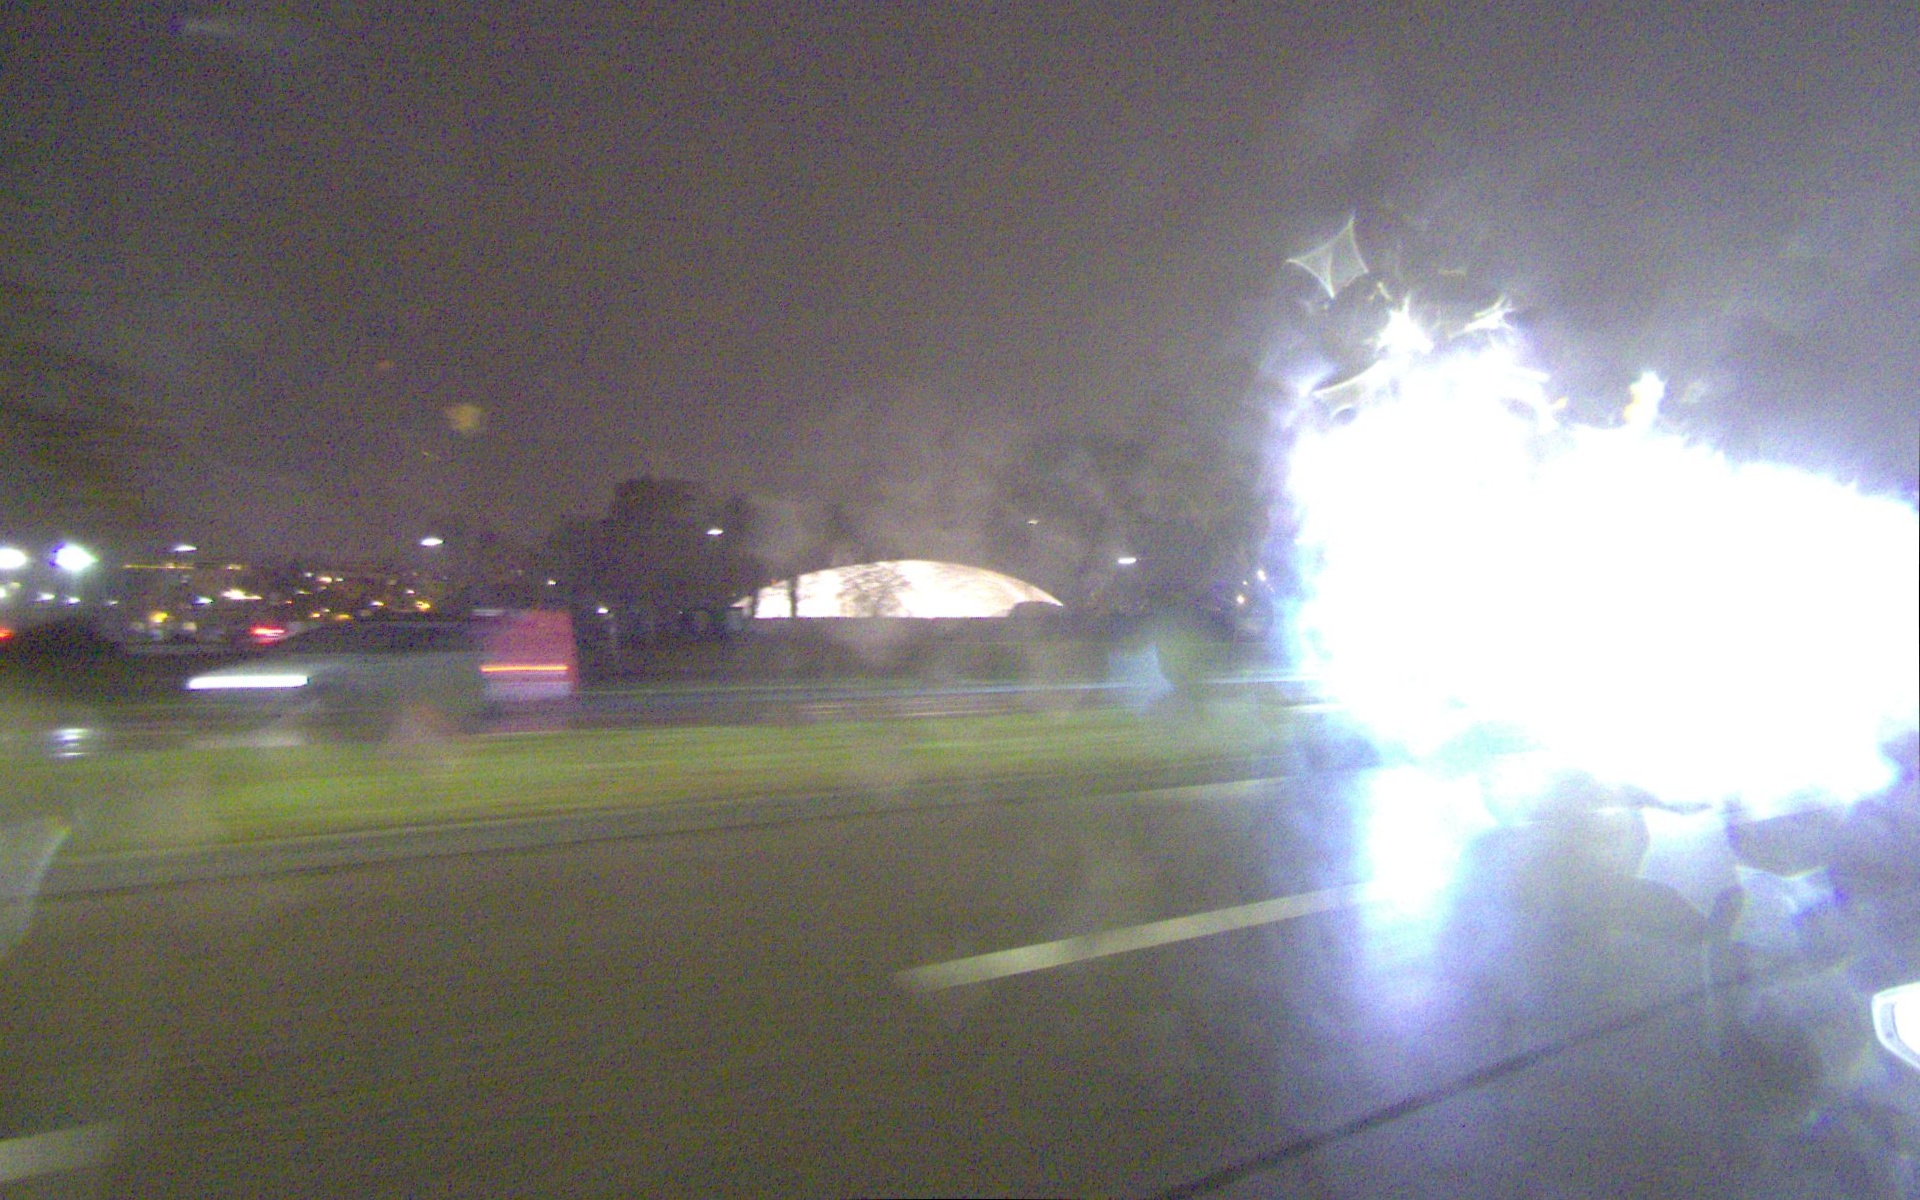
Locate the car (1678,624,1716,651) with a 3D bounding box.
[{"bbox_3d":[51.016,2.552,69.508,2.037,1.738,5.021,1,0,37],"label":"car"}]

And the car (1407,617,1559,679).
[{"bbox_3d":[13.718,1.214,26.309,3.956,1.484,1.819,1,0,-33],"label":"car"}]

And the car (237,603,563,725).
[{"bbox_3d":[-8.924,0.948,16.312,4.388,1.736,1.820,1,0,-30],"label":"car"}]

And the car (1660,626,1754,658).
[{"bbox_3d":[36.391,2.000,48.867,5.292,1.421,1.982,1,0,-33],"label":"car"}]

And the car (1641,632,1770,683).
[{"bbox_3d":[24.125,1.814,32.468,4.607,1.484,1.819,1,0,-32],"label":"car"}]
